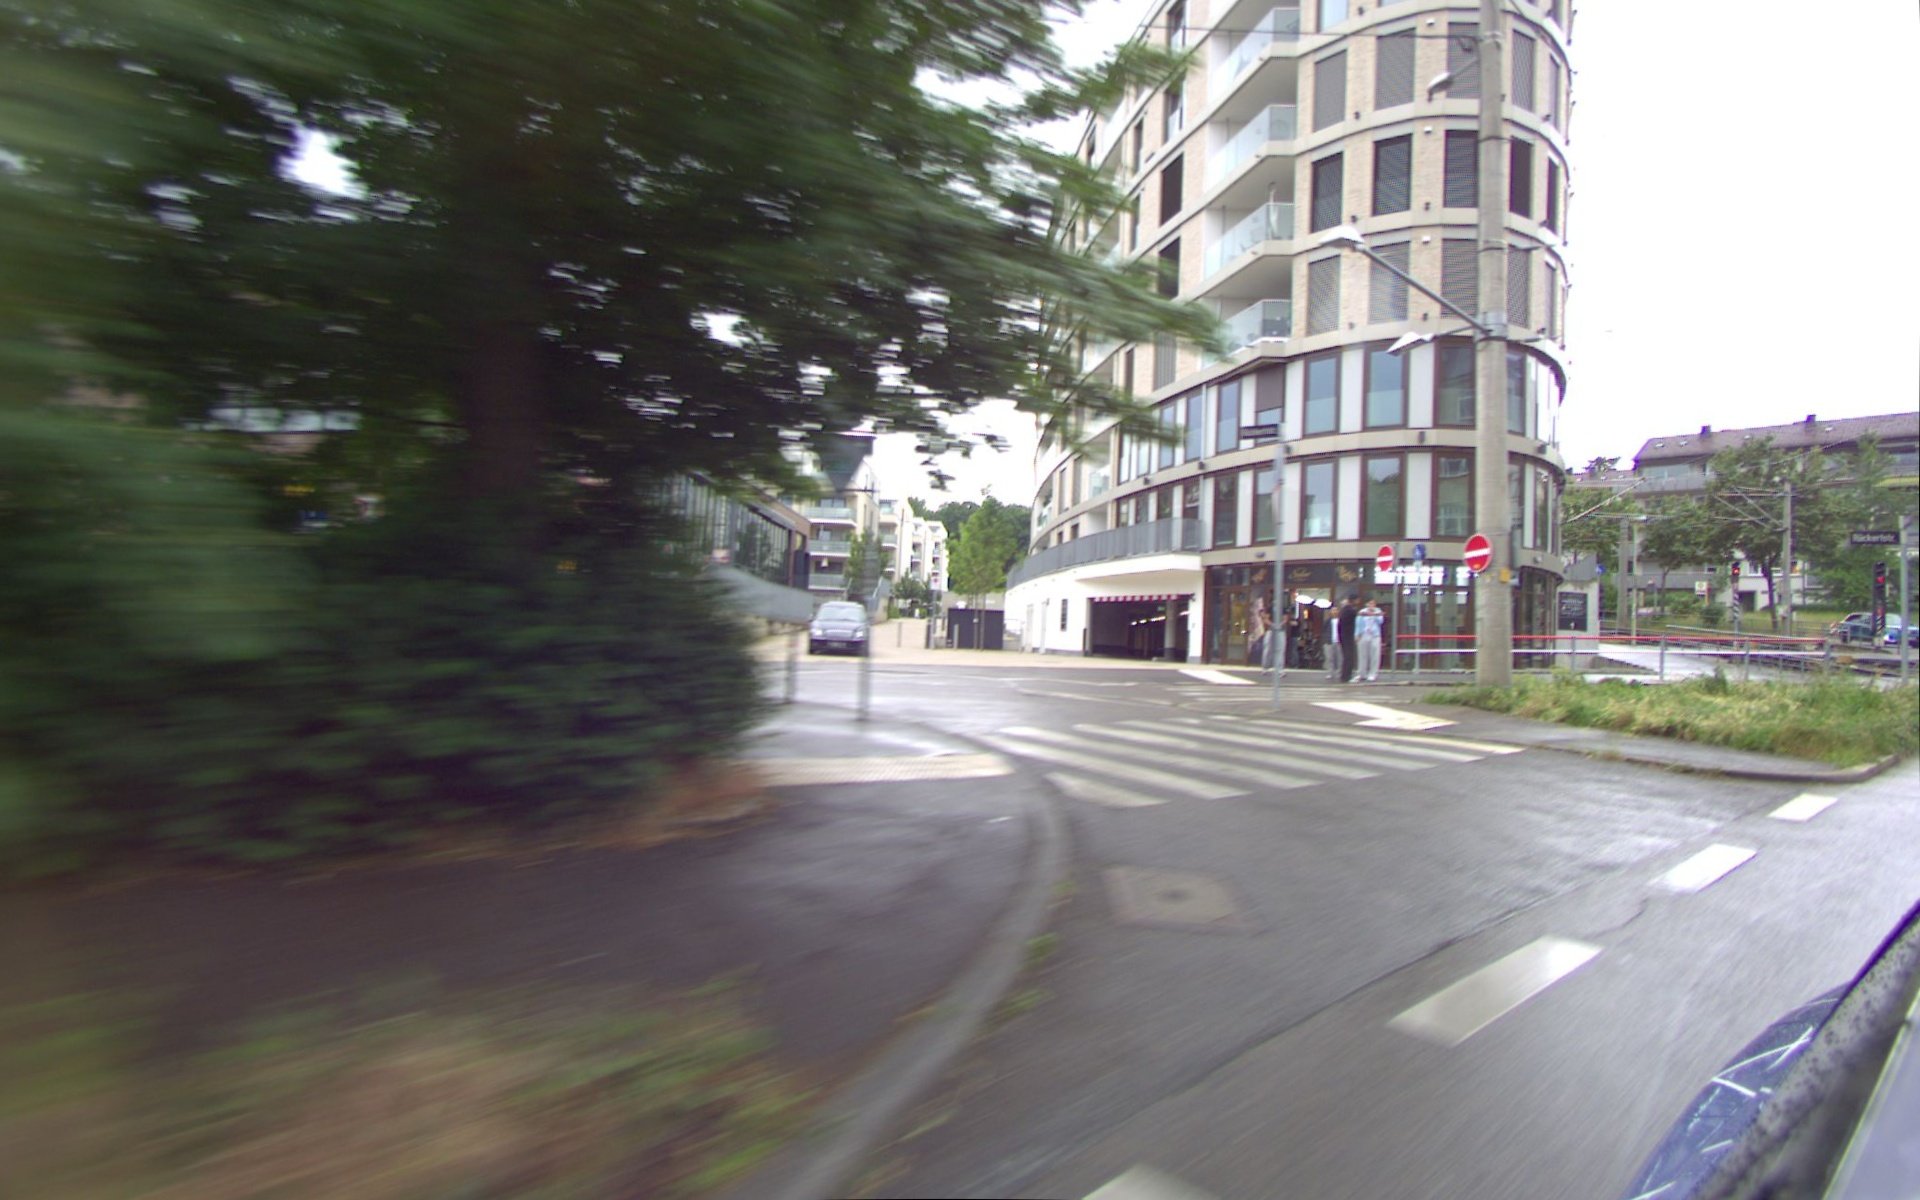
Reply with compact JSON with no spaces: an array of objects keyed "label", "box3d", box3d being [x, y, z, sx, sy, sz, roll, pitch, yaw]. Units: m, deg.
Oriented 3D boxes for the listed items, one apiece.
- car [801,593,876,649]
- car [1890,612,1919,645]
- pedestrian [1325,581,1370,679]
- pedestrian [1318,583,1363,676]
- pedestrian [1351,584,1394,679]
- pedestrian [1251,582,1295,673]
[{"label":"car","box3d":[-3.410,0.553,28.952,1.960,1.376,4.005,2,1,-5]},{"label":"car","box3d":[42.991,1.247,45.019,3.930,1.380,1.997,1,0,-41]},{"label":"pedestrian","box3d":[8.334,0.638,21.748,0.680,2.039,0.776,2,0,35]},{"label":"pedestrian","box3d":[8.597,0.657,22.863,0.591,2.039,0.878,2,0,43]},{"label":"pedestrian","box3d":[9.119,0.678,22.358,0.653,2.039,0.880,2,0,35]},{"label":"pedestrian","box3d":[7.212,0.606,23.295,0.591,2.039,0.878,2,1,43]}]
